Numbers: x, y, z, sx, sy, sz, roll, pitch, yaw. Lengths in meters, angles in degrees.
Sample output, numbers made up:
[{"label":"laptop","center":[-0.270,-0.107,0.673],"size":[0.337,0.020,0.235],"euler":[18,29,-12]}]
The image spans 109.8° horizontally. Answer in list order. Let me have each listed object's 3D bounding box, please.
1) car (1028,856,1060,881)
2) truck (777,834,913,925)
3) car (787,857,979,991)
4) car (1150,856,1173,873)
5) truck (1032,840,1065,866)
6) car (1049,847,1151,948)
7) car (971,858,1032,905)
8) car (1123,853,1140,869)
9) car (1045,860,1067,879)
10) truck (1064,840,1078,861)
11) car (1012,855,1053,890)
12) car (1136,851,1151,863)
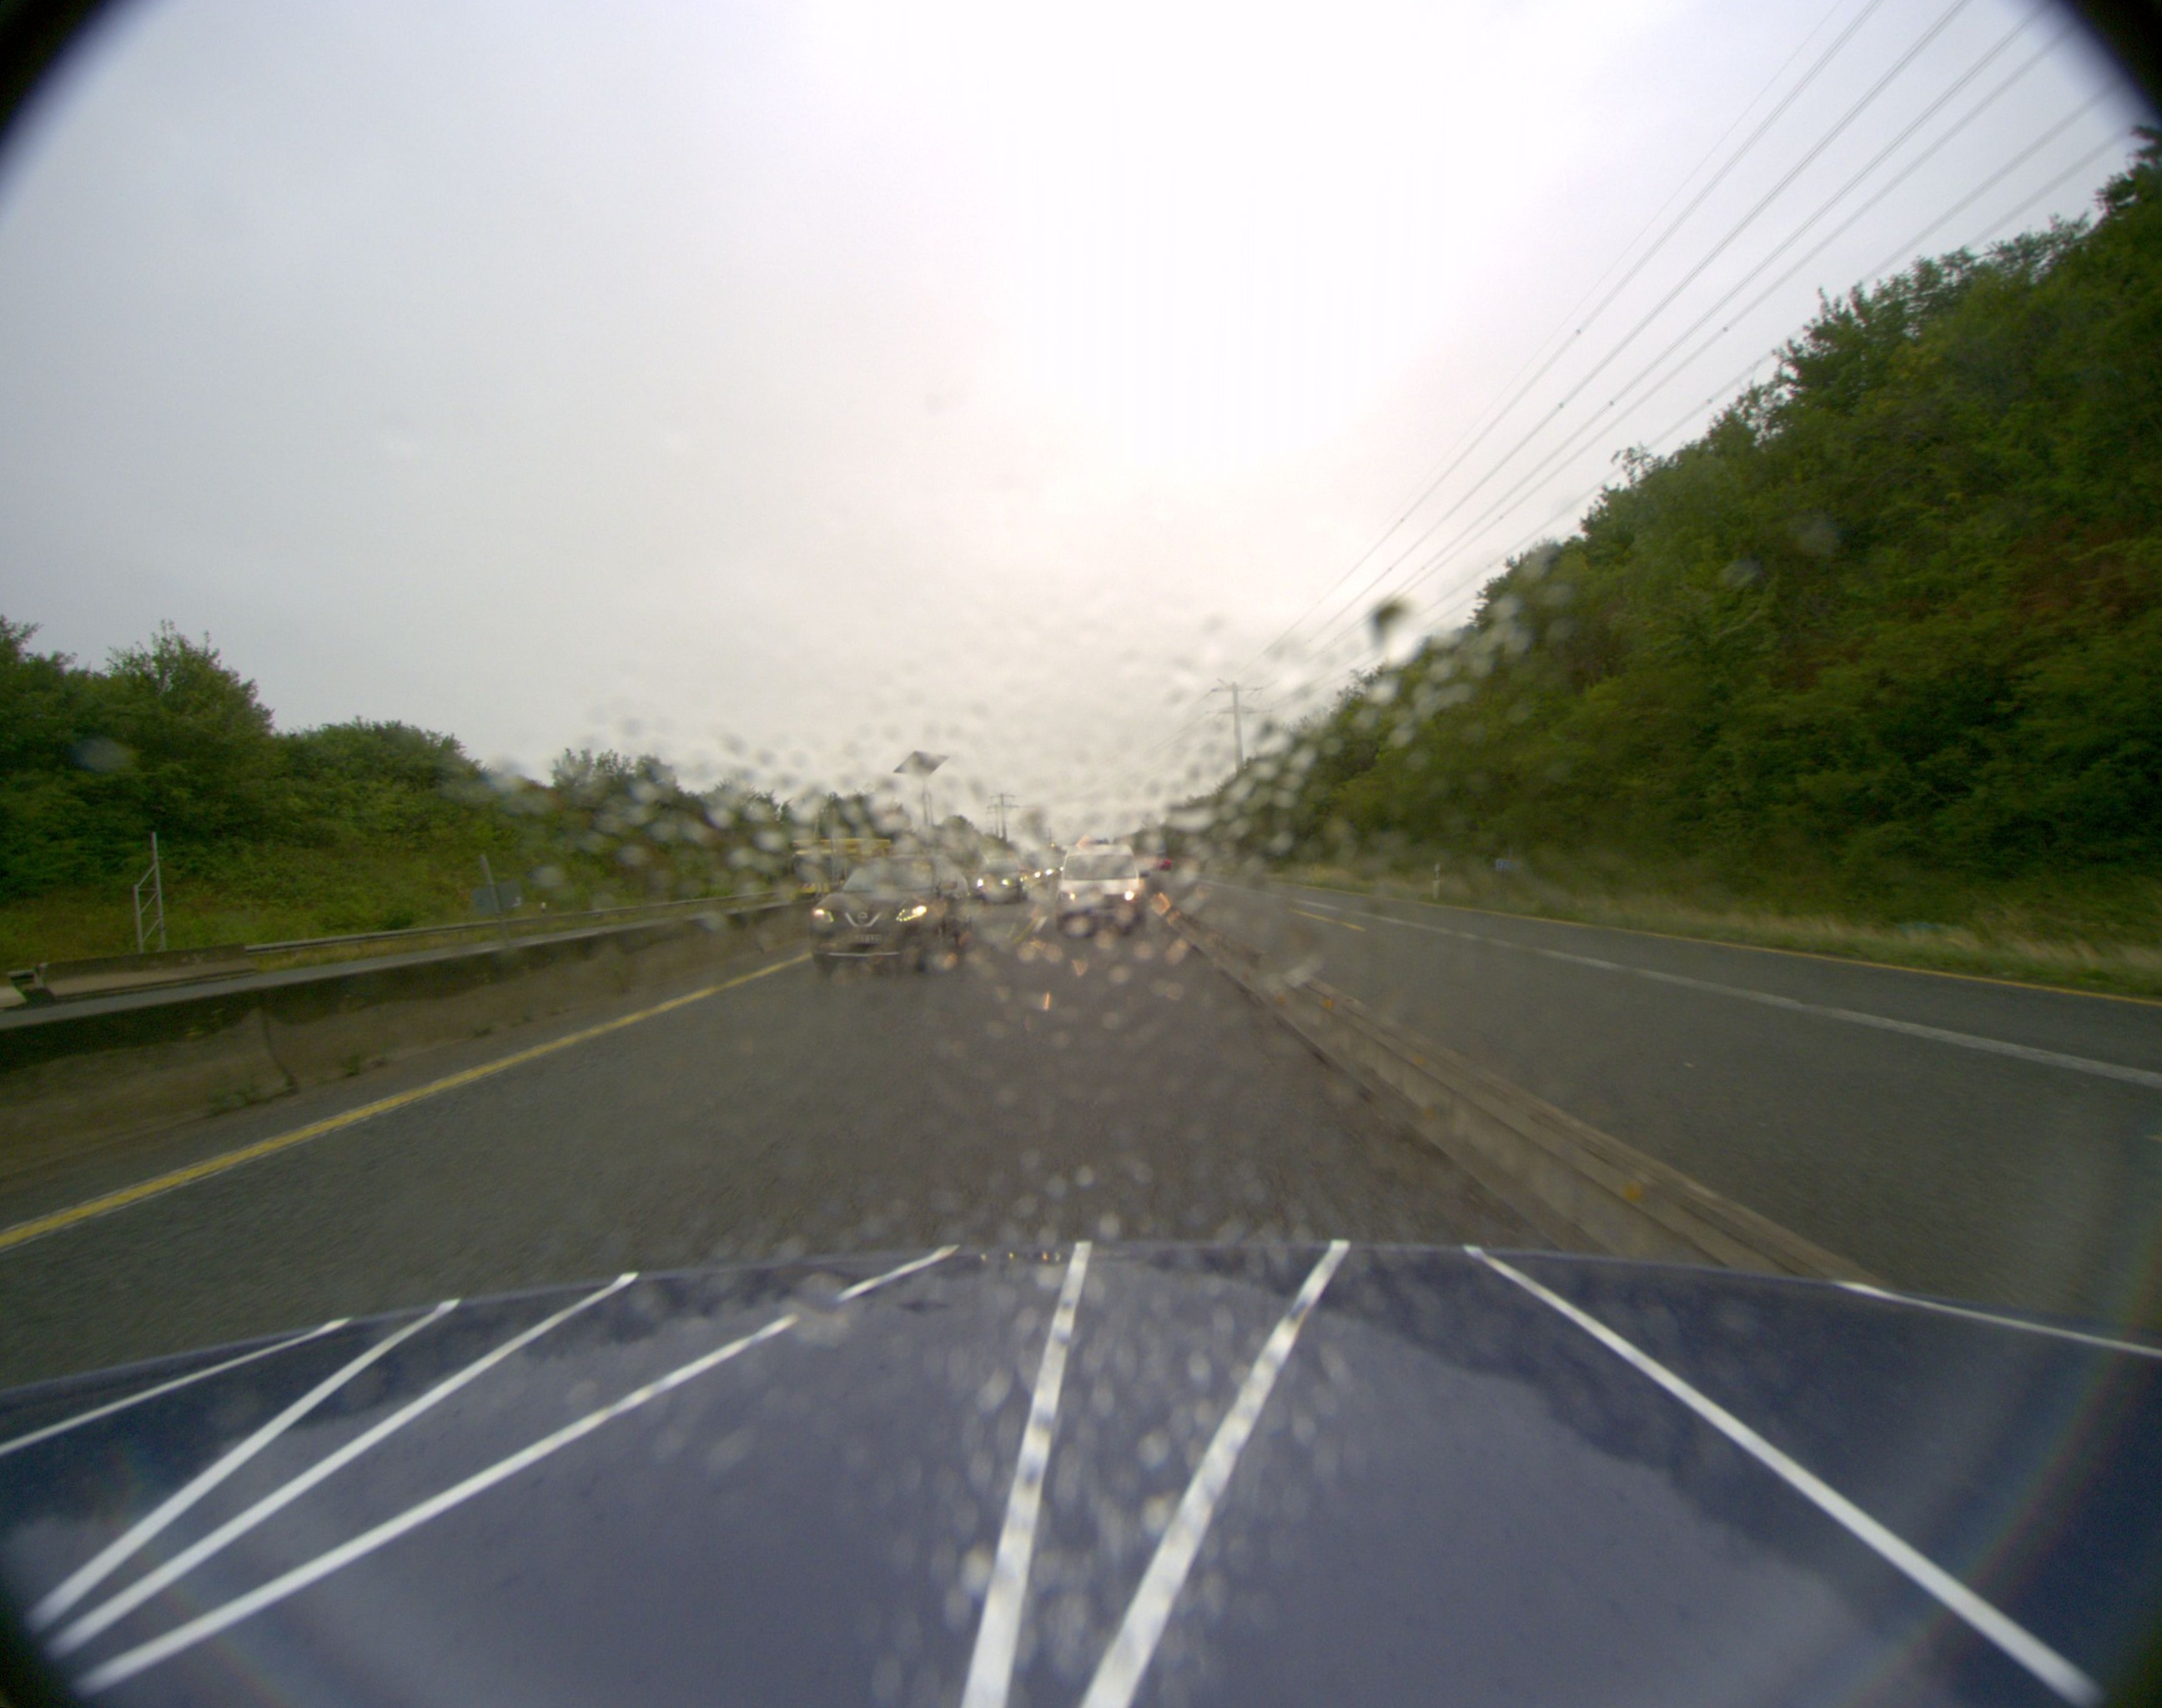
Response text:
[{"label":"car","center":[-2.358,0.914,49.234],"size":[1.784,1.482,4.123],"euler":[-2,1,0]},{"label":"truck","center":[-10.066,0.915,33.764],"size":[2.619,3.404,9.576],"euler":[-2,1,2]},{"label":"car","center":[-2.944,0.939,12.439],"size":[1.894,1.665,4.640],"euler":[-2,1,0]},{"label":"car","center":[7.926,1.010,74.904],"size":[1.778,1.442,4.449],"euler":[-2,1,1]},{"label":"truck","center":[-4.665,-0.115,106.771],"size":[2.622,3.404,9.563],"euler":[-2,1,-14]},{"label":"car","center":[0.339,0.767,16.145],"size":[1.784,1.775,4.697],"euler":[-2,1,0]},{"label":"car","center":[-2.846,0.952,27.979],"size":[1.784,1.482,4.123],"euler":[-2,1,0]},{"label":"car","center":[5.478,0.734,82.386],"size":[1.766,1.674,4.000],"euler":[-2,1,3]},{"label":"car","center":[-2.142,1.327,67.032],"size":[1.784,1.482,4.123],"euler":[-2,1,0]},{"label":"truck","center":[-1.905,-0.689,148.205],"size":[2.619,3.868,9.574],"euler":[-2,1,0]},{"label":"car","center":[-2.407,0.875,38.477],"size":[1.784,1.589,4.123],"euler":[-2,1,0]},{"label":"car","center":[8.904,0.447,108.648],"size":[1.875,1.593,4.000],"euler":[-2,1,1]}]
